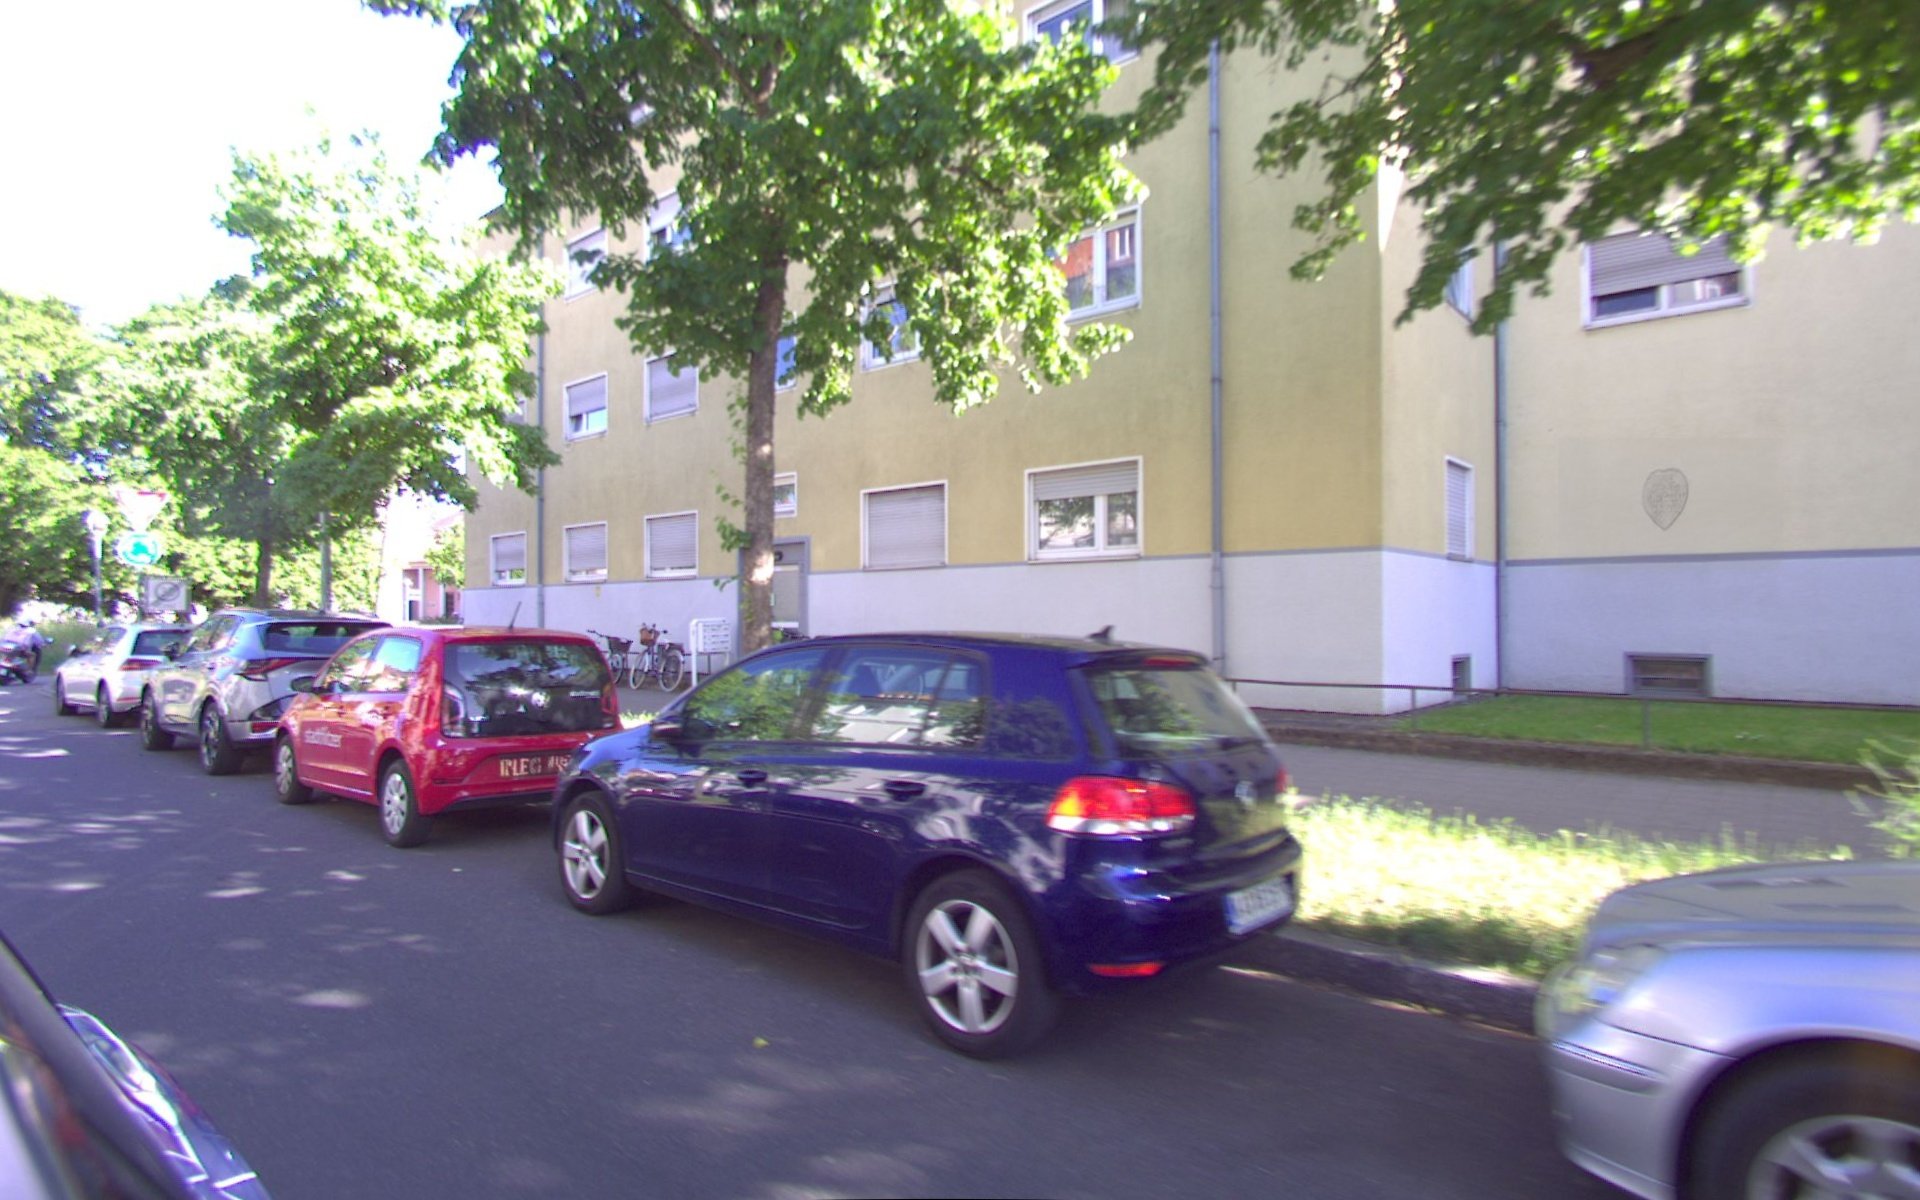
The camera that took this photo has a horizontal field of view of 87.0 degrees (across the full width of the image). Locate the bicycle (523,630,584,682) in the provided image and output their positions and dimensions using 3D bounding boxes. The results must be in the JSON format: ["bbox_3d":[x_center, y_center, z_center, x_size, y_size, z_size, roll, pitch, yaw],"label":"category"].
[{"bbox_3d":[-8.166,1.107,20.312,1.681,1.008,0.430,-1,-2,42],"label":"bicycle"}]

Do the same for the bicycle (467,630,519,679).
[{"bbox_3d":[-10.072,1.165,21.796,1.544,1.008,0.448,-1,-2,42],"label":"bicycle"}]

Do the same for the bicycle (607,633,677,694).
[{"bbox_3d":[-5.617,1.096,17.833,1.545,1.008,0.509,-2,-2,45],"label":"bicycle"}]

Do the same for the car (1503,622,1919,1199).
[{"bbox_3d":[3.617,0.728,1.520,4.672,1.379,1.727,-1,-2,42],"label":"car"}]

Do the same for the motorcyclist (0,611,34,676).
[{"bbox_3d":[-21.095,0.970,22.547,0.537,1.437,0.404,0,-1,-3],"label":"motorcyclist"}]

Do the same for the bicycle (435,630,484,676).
[{"bbox_3d":[-11.337,1.184,22.907,1.544,1.008,0.470,-1,-2,42],"label":"bicycle"}]

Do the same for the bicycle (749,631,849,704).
[{"bbox_3d":[-2.460,0.989,15.356,1.748,1.034,0.534,-1,-1,43],"label":"bicycle"}]

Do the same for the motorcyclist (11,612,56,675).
[{"bbox_3d":[-21.080,0.991,23.037,0.546,1.413,0.520,0,-1,-2],"label":"motorcyclist"}]

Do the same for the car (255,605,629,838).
[{"bbox_3d":[-4.294,0.820,8.229,3.255,1.497,1.647,-1,-2,42],"label":"car"}]

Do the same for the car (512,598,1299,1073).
[{"bbox_3d":[-0.544,0.774,5.079,3.931,1.470,1.647,-1,-2,42],"label":"car"}]

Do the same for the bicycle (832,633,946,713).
[{"bbox_3d":[-1.008,0.981,14.080,1.748,1.034,0.530,-1,-1,43],"label":"bicycle"}]

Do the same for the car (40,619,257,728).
[{"bbox_3d":[-12.516,1.035,15.532,3.989,1.453,1.743,-1,-1,38],"label":"car"}]

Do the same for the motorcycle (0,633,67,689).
[{"bbox_3d":[-21.088,1.358,22.824,0.546,1.184,1.634,0,-1,-4],"label":"motorcycle"}]

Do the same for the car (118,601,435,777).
[{"bbox_3d":[-7.735,0.850,11.254,4.731,1.577,1.674,-1,-2,40],"label":"car"}]

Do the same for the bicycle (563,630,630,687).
[{"bbox_3d":[-6.825,1.079,18.985,1.544,1.008,0.506,-1,-2,42],"label":"bicycle"}]

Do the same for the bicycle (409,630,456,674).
[{"bbox_3d":[-12.532,1.218,24.034,1.544,1.008,0.471,-1,-2,42],"label":"bicycle"}]
